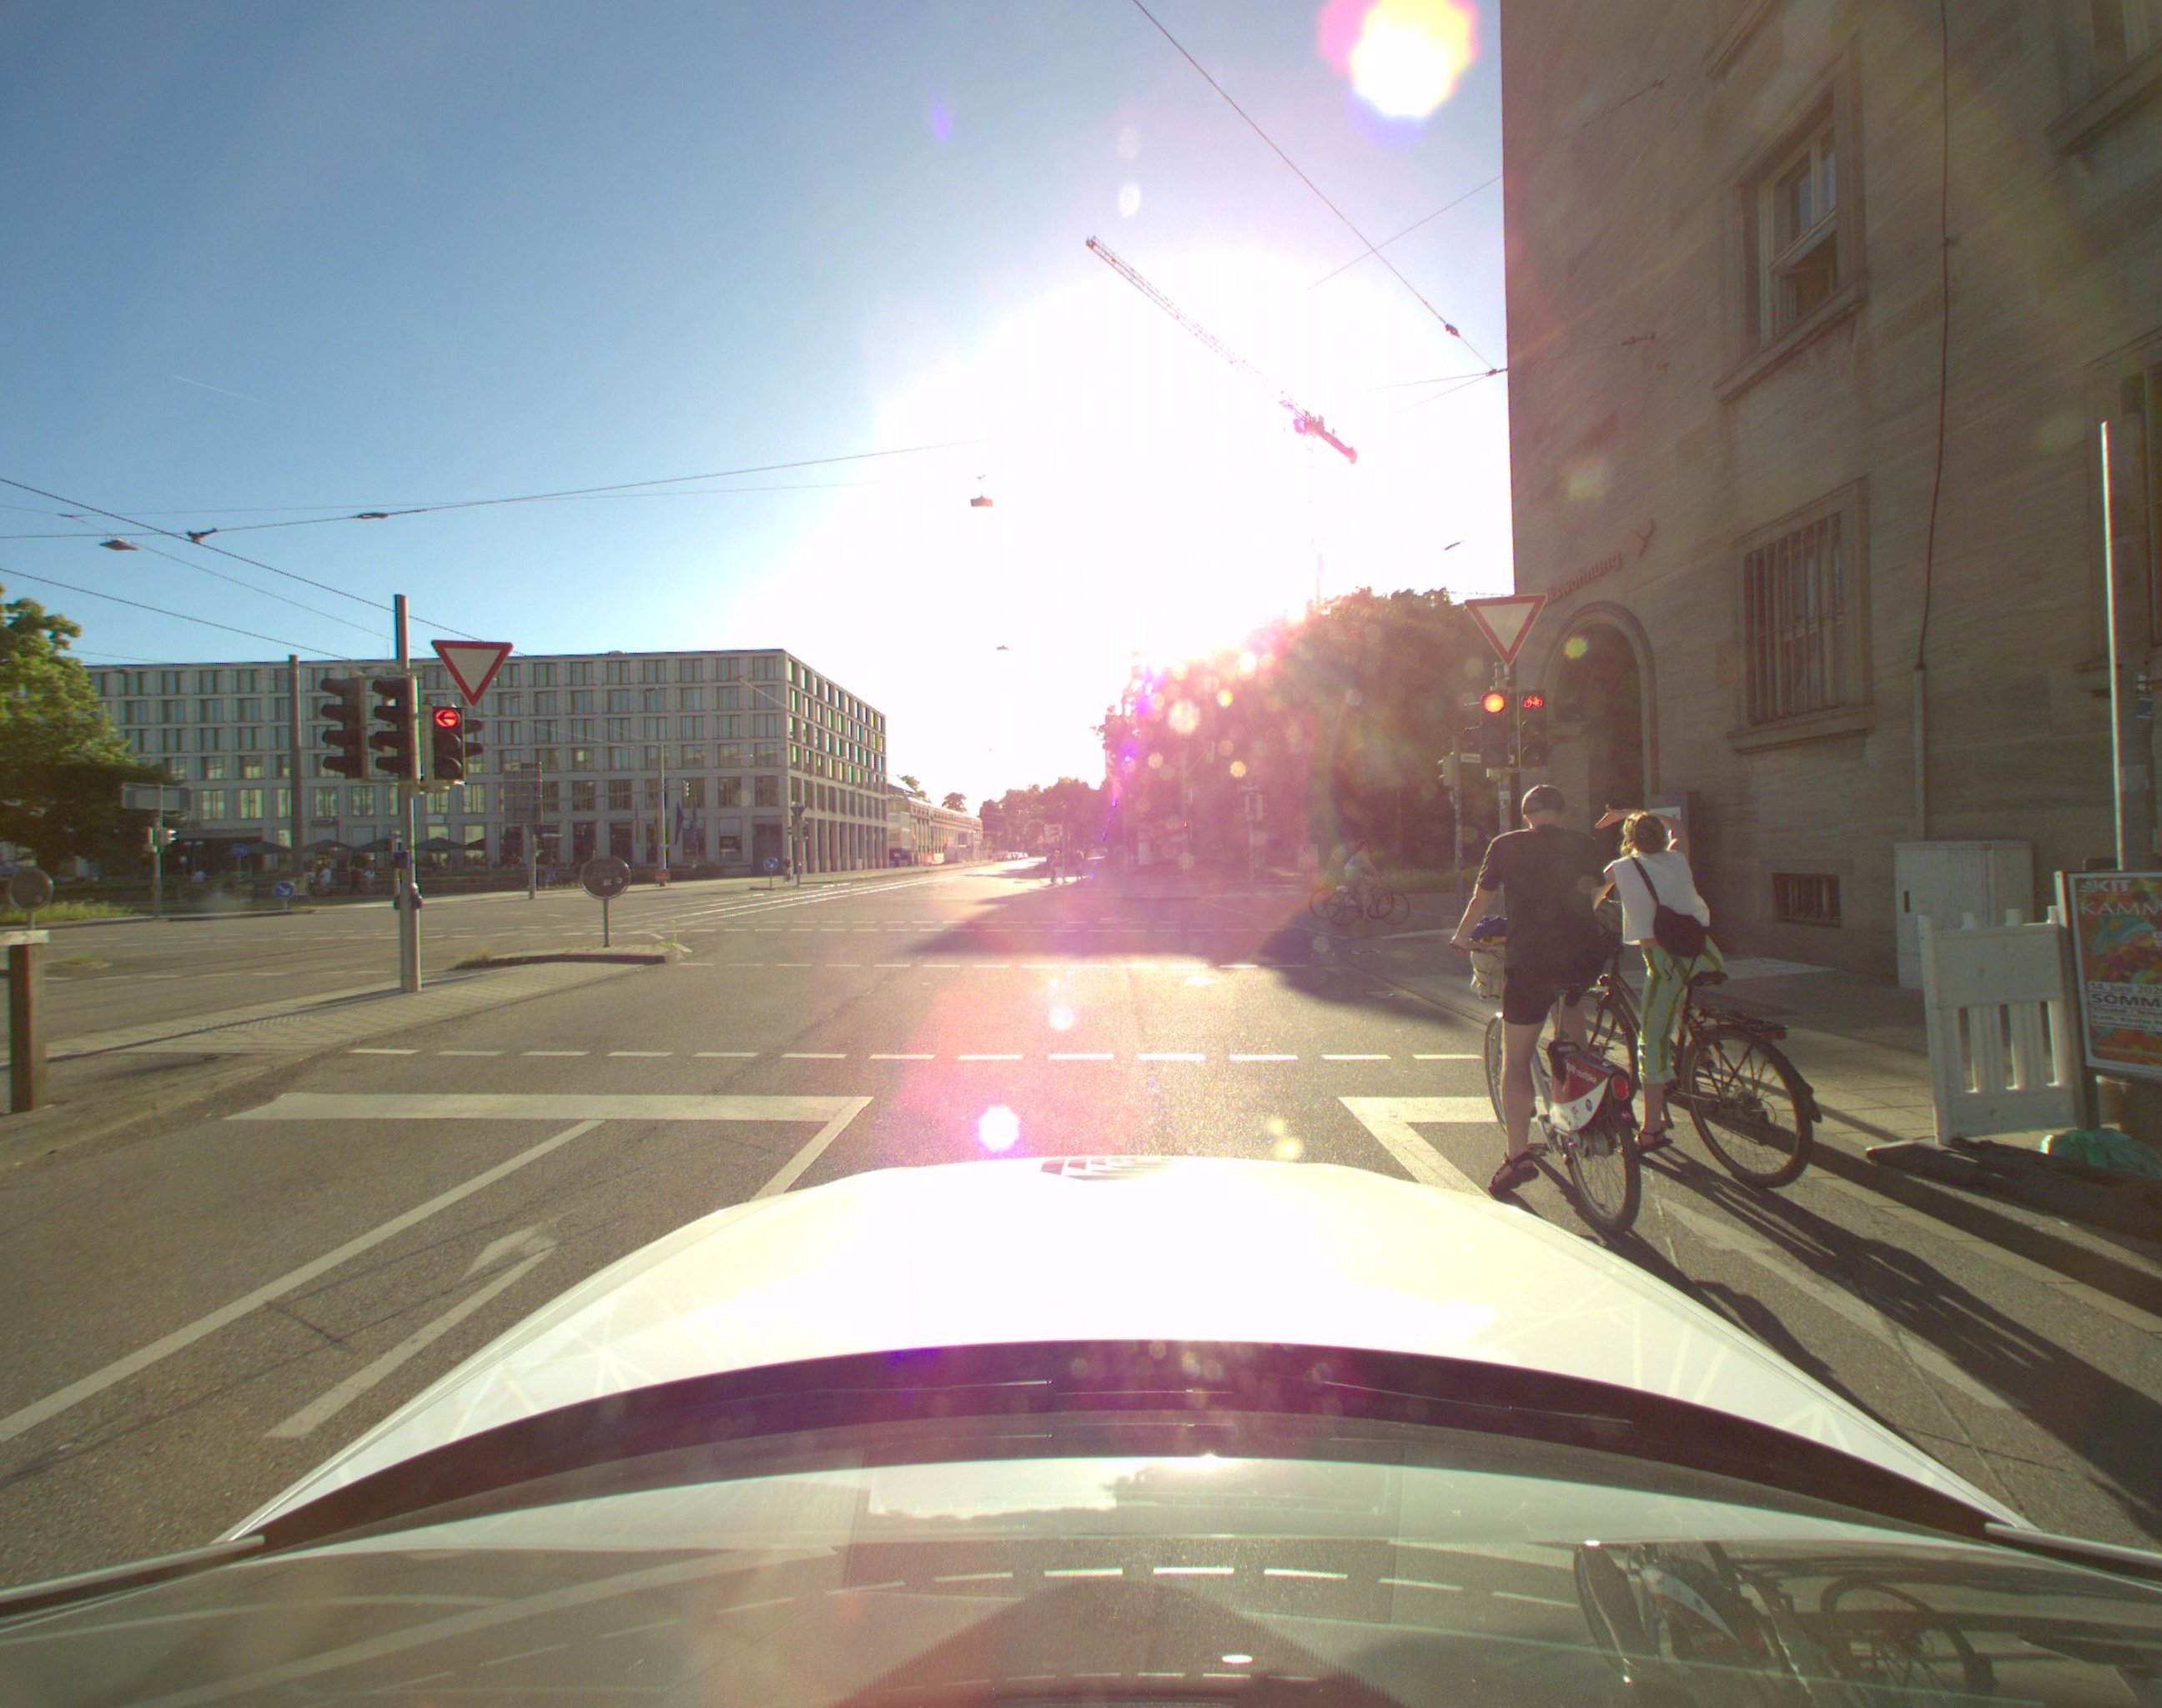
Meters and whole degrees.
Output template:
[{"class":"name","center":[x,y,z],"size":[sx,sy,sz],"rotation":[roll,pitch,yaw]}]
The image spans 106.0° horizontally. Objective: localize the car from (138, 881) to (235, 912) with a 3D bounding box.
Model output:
[{"class":"car","center":[-46.912,2.194,42.753],"size":[3.181,1.438,1.468],"rotation":[-2,0,-6]}]

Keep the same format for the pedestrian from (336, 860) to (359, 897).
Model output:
[{"class":"pedestrian","center":[-40.550,1.366,45.036],"size":[0.528,2.013,0.800],"rotation":[-2,0,-5]}]

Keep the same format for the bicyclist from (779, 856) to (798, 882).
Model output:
[{"class":"bicyclist","center":[-19.157,0.965,53.423],"size":[0.872,1.641,0.822],"rotation":[-2,0,3]}]

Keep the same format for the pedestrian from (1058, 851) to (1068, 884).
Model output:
[{"class":"pedestrian","center":[-0.980,0.725,44.579],"size":[0.358,1.804,0.508],"rotation":[-2,0,14]}]

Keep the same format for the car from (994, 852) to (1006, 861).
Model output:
[{"class":"car","center":[-15.506,0.482,156.734],"size":[1.724,1.653,4.002],"rotation":[-2,0,2]}]

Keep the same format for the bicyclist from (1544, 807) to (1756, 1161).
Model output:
[{"class":"bicyclist","center":[2.956,0.621,4.314],"size":[0.519,1.679,0.860],"rotation":[-2,0,5]}]

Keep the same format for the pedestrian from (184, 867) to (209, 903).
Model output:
[{"class":"pedestrian","center":[-47.893,1.679,44.100],"size":[0.557,1.903,0.684],"rotation":[-2,0,10]}]

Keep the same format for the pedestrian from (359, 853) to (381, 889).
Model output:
[{"class":"pedestrian","center":[-40.063,0.953,45.900],"size":[0.528,2.013,0.800],"rotation":[-2,0,-5]}]

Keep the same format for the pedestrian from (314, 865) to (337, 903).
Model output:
[{"class":"pedestrian","center":[-41.726,1.649,44.971],"size":[0.528,2.013,0.800],"rotation":[-2,0,-5]}]

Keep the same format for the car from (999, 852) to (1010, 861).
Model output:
[{"class":"car","center":[-15.120,0.423,160.918],"size":[1.724,1.653,4.002],"rotation":[-2,0,2]}]

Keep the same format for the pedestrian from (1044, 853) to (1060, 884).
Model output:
[{"class":"pedestrian","center":[-1.561,0.756,44.030],"size":[0.792,1.639,0.534],"rotation":[-2,0,4]}]

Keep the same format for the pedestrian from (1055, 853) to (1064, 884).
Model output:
[{"class":"pedestrian","center":[-1.200,0.788,44.913],"size":[0.440,1.662,0.376],"rotation":[-2,0,1]}]

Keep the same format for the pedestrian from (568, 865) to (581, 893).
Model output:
[{"class":"pedestrian","center":[-36.590,1.782,58.855],"size":[0.606,2.013,0.391],"rotation":[-2,0,2]}]

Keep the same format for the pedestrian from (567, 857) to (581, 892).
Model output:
[{"class":"pedestrian","center":[-32.976,1.329,52.947],"size":[0.568,2.280,0.532],"rotation":[-2,0,-5]}]

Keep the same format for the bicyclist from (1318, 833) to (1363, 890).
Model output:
[{"class":"bicyclist","center":[5.712,0.159,17.935],"size":[0.718,1.218,0.798],"rotation":[-2,0,1]}]

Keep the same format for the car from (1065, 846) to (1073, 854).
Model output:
[{"class":"car","center":[-3.341,-1.107,221.067],"size":[1.986,2.013,4.002],"rotation":[-2,0,2]}]

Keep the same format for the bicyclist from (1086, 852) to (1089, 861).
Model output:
[{"class":"bicyclist","center":[0.785,0.325,98.544],"size":[0.317,1.127,0.291],"rotation":[-2,0,1]}]

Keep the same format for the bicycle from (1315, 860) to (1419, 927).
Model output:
[{"class":"bicycle","center":[5.887,0.799,16.846],"size":[1.846,1.291,0.791],"rotation":[-2,0,-2]}]

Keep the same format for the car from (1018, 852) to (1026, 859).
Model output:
[{"class":"car","center":[-14.043,0.306,195.107],"size":[1.478,1.750,4.002],"rotation":[-2,0,2]}]

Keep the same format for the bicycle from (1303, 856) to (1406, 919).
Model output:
[{"class":"bicycle","center":[5.982,0.714,17.914],"size":[1.979,1.291,0.792],"rotation":[-2,0,0]}]

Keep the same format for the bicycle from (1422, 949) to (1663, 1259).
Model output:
[{"class":"bicycle","center":[2.114,1.037,3.990],"size":[0.387,0.905,1.956],"rotation":[-2,0,10]}]

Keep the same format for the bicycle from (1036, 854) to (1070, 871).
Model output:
[{"class":"bicycle","center":[-2.328,0.721,67.359],"size":[2.728,1.367,0.633],"rotation":[-1,-1,12]}]

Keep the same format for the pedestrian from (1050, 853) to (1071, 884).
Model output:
[{"class":"pedestrian","center":[-1.095,0.780,43.608],"size":[0.980,1.587,0.661],"rotation":[-2,-1,3]}]

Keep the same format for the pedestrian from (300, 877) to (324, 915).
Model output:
[{"class":"pedestrian","center":[-41.646,2.245,44.105],"size":[0.528,2.013,0.800],"rotation":[-2,0,-5]}]

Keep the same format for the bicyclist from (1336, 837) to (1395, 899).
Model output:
[{"class":"bicyclist","center":[5.882,0.280,16.870],"size":[0.922,1.218,0.796],"rotation":[-2,0,-1]}]

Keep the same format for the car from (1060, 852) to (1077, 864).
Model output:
[{"class":"car","center":[-1.404,0.428,91.382],"size":[1.814,1.279,3.999],"rotation":[-2,0,0]}]

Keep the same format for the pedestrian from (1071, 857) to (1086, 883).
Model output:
[{"class":"pedestrian","center":[-0.123,0.865,43.457],"size":[0.749,1.332,0.743],"rotation":[-2,-1,3]}]

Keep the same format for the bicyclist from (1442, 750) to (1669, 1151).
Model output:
[{"class":"bicyclist","center":[2.146,0.411,3.771],"size":[0.666,1.678,0.658],"rotation":[-2,0,8]}]

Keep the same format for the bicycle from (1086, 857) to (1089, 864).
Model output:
[{"class":"bicycle","center":[0.828,0.795,98.613],"size":[0.323,0.868,1.484],"rotation":[-2,0,2]}]

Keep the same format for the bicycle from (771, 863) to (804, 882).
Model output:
[{"class":"bicycle","center":[-19.193,1.210,53.372],"size":[0.872,1.121,3.015],"rotation":[-2,0,3]}]

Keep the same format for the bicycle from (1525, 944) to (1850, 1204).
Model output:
[{"class":"bicycle","center":[3.092,1.040,4.419],"size":[0.424,0.876,1.953],"rotation":[-2,0,5]}]
